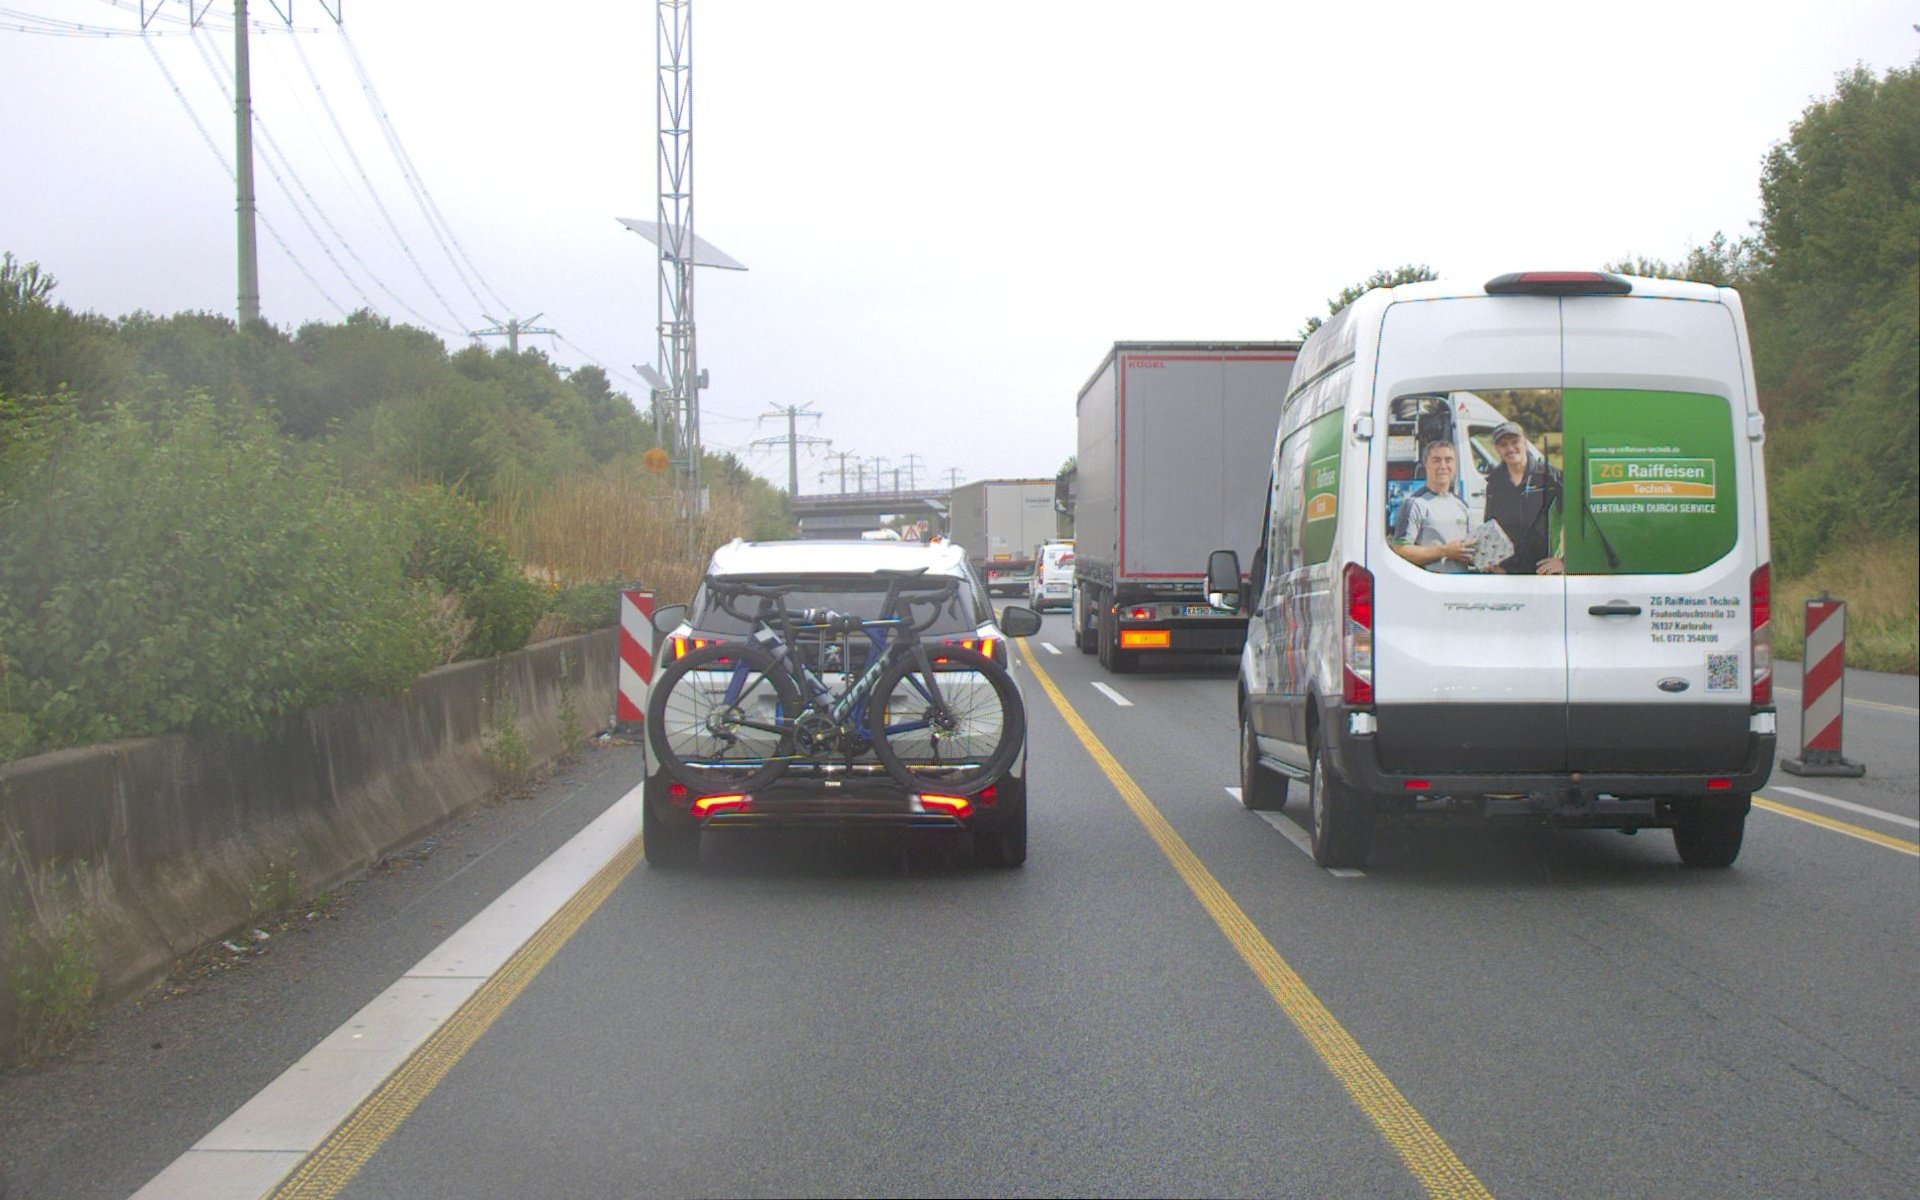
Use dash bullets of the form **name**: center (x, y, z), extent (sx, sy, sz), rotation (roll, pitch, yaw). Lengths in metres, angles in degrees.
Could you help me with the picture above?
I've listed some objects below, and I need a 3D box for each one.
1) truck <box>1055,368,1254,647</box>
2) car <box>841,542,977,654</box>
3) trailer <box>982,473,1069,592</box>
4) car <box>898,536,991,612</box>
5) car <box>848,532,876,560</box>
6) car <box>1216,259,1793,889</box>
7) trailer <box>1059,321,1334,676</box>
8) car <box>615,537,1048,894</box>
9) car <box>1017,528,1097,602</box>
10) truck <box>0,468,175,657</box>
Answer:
- **truck**: center (2.953, -1.406, 53.768), extent (2.706, 4.124, 5.691), rotation (0, 1, -1)
- **car**: center (-0.718, -0.062, 48.812), extent (1.850, 1.525, 4.000), rotation (0, 1, -1)
- **trailer**: center (2.280, -2.403, 123.971), extent (2.692, 4.062, 13.634), rotation (0, 1, -1)
- **car**: center (-0.339, -0.549, 71.227), extent (1.850, 1.525, 4.000), rotation (0, 1, -1)
- **car**: center (-7.089, -3.895, 248.784), extent (1.931, 1.966, 4.001), rotation (0, 2, -1)
- **car**: center (2.618, -0.161, 18.043), extent (1.993, 2.773, 5.757), rotation (0, 1, -1)
- **trailer**: center (2.953, -1.282, 46.883), extent (2.706, 4.132, 13.733), rotation (0, 1, 0)
- **car**: center (-0.582, 0.457, 17.093), extent (1.850, 1.525, 4.769), rotation (0, 1, -1)
- **car**: center (2.447, -0.896, 87.605), extent (1.829, 1.833, 4.656), rotation (0, 1, -1)
- **truck**: center (-16.554, -0.676, 63.718), extent (2.261, 3.217, 7.052), rotation (-3, 1, 0)
